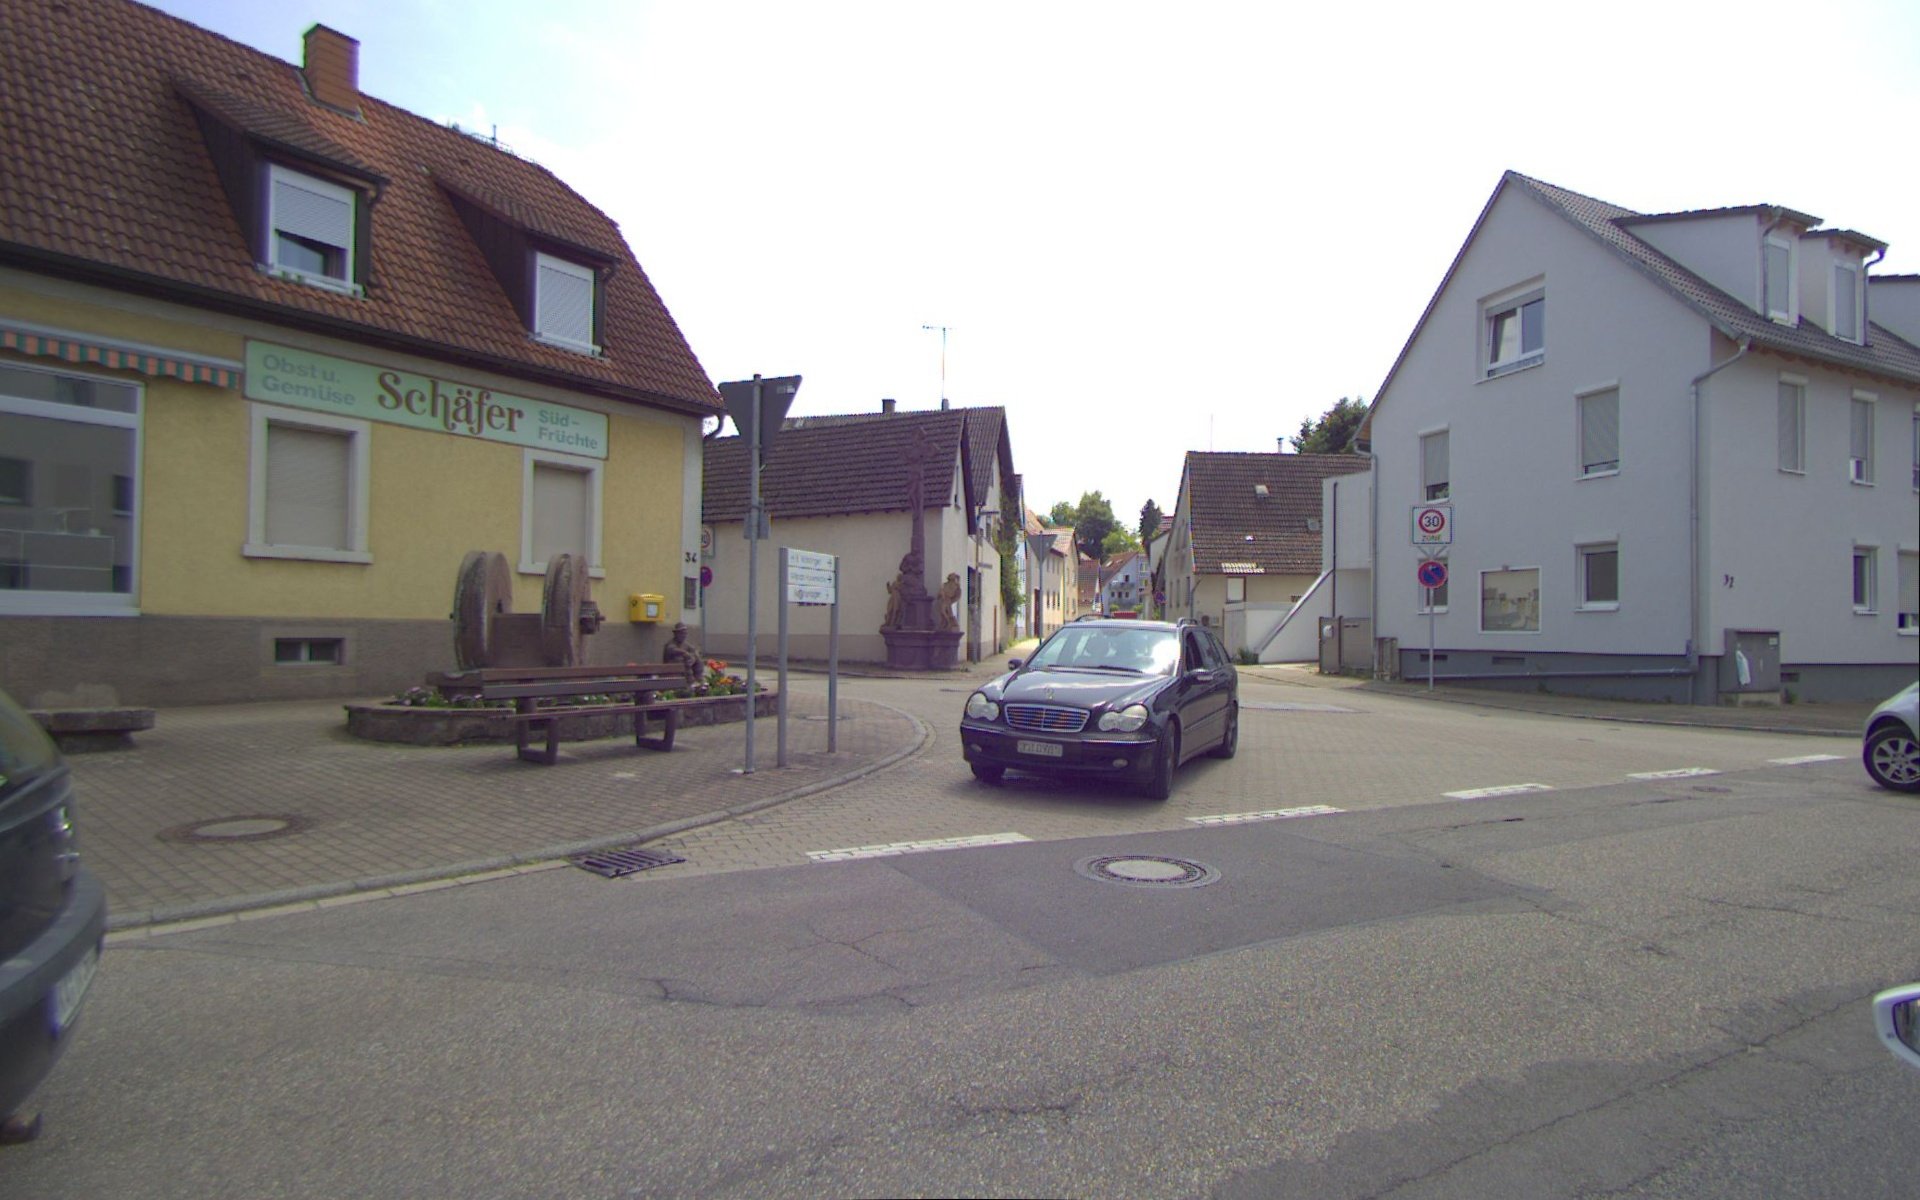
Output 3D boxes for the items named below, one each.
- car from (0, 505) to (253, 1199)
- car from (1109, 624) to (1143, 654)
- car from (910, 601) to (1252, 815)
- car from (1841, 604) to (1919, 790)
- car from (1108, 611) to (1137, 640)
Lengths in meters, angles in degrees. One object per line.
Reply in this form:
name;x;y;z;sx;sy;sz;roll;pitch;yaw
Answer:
car;-3.481;0.524;1.495;3.815;1.560;1.491;4;-2;-33
car;9.032;2.122;54.724;1.461;1.550;3.478;2;-2;4
car;1.429;0.856;9.437;1.780;1.430;4.633;2;-2;25
car;9.321;0.892;7.975;1.779;1.665;3.731;2;0;10
car;9.718;1.553;60.372;1.369;1.656;3.478;2;-2;4
